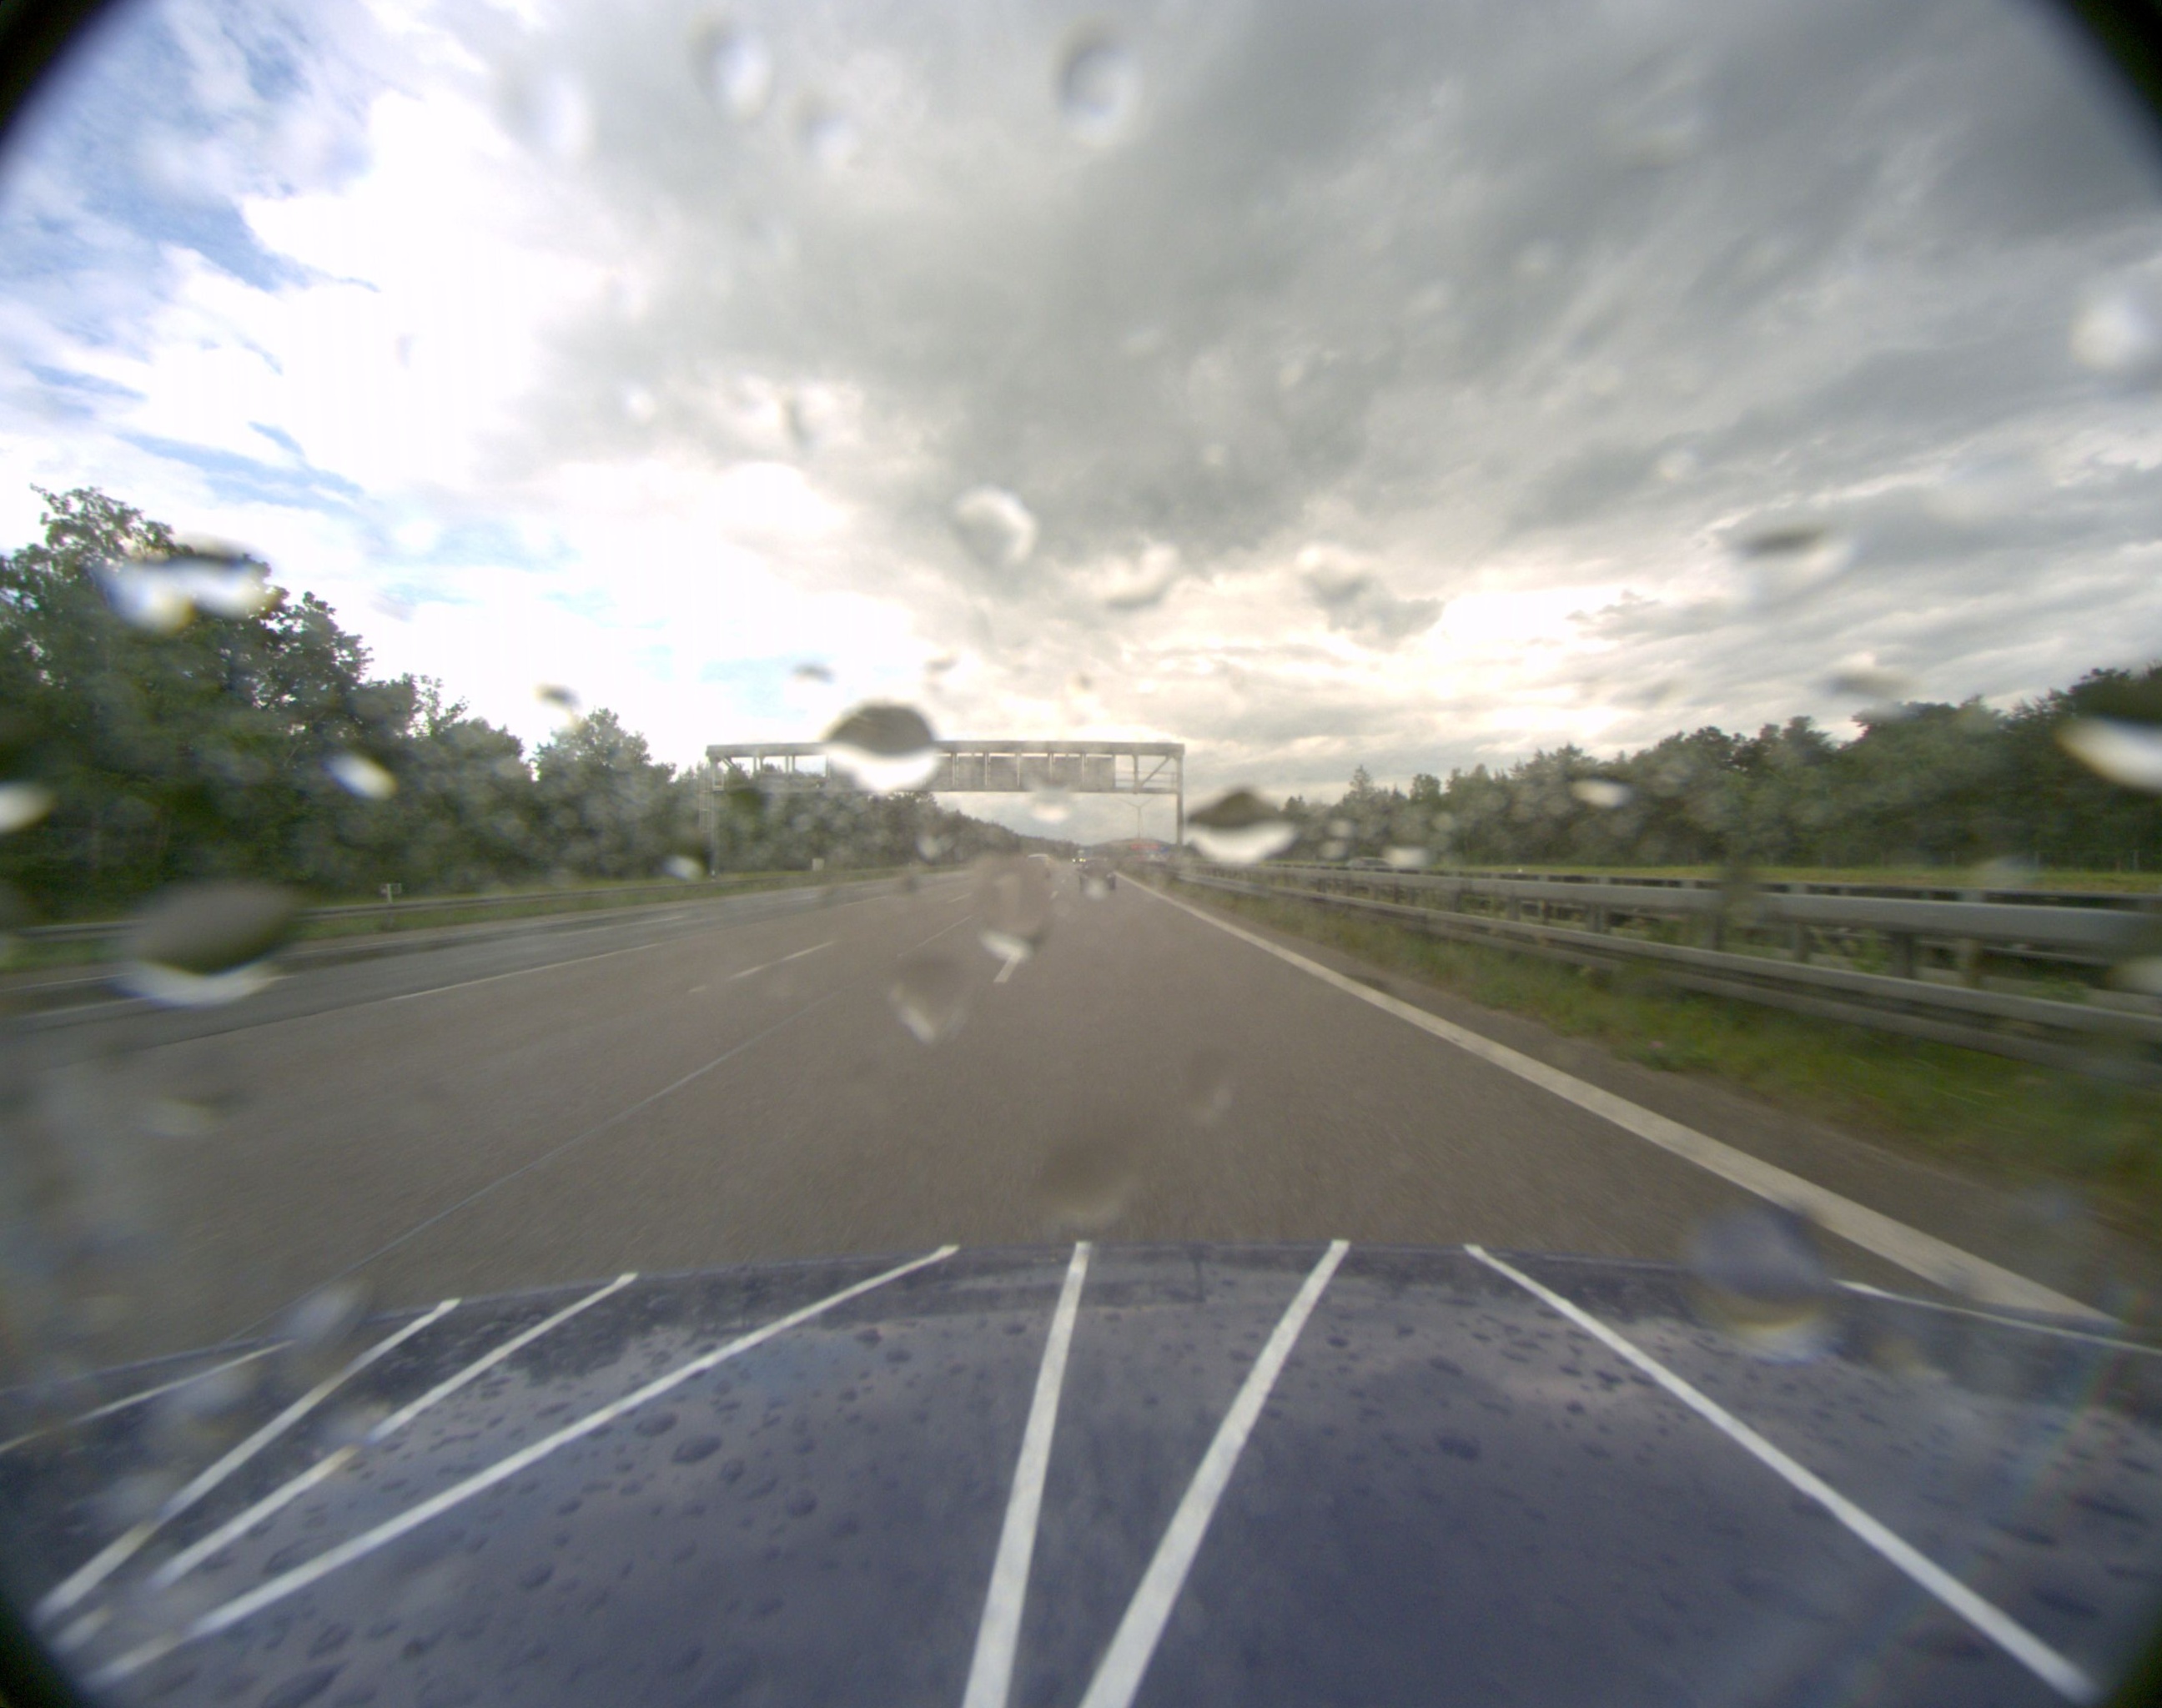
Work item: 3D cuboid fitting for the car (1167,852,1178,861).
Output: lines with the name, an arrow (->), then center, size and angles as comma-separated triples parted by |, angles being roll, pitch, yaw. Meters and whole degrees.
car -> 20.804, 0.561, 172.523 | 1.998, 1.906, 4.724 | 2, 0, 1

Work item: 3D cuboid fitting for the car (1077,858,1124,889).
car -> 0.975, 0.875, 35.605 | 1.809, 1.321, 4.433 | 0, 0, 6

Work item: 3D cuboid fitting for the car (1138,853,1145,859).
car -> 19.492, 0.610, 245.729 | 1.998, 1.600, 4.609 | -2, 0, 1

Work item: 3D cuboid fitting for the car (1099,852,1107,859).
car -> 6.417, 0.381, 220.820 | 2.179, 2.002, 4.362 | -3, 0, 1

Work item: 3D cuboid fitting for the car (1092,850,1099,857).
car -> 4.511, -0.219, 232.008 | 1.998, 2.002, 4.000 | -3, 0, 1

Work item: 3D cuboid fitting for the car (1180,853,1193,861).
car -> 19.843, 0.586, 143.270 | 1.854, 1.436, 4.320 | 0, 0, 0

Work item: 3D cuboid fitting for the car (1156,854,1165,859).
car -> 22.602, 0.758, 215.591 | 1.998, 1.492, 4.609 | 1, 0, 1

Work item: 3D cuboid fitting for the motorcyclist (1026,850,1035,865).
motorcyclist -> -5.593, 0.371, 84.098 | 0.893, 1.605, 0.959 | -2, 0, 5

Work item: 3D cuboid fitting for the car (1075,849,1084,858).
car -> -0.289, -0.026, 167.499 | 1.831, 1.838, 4.000 | -3, 0, 1

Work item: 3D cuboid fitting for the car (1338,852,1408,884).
car -> 14.301, 0.656, 37.459 | 1.761, 1.441, 4.140 | -1, 0, -1

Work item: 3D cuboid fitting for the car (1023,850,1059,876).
car -> -2.985, 0.648, 57.921 | 1.968, 1.890, 4.883 | -1, 0, 5
